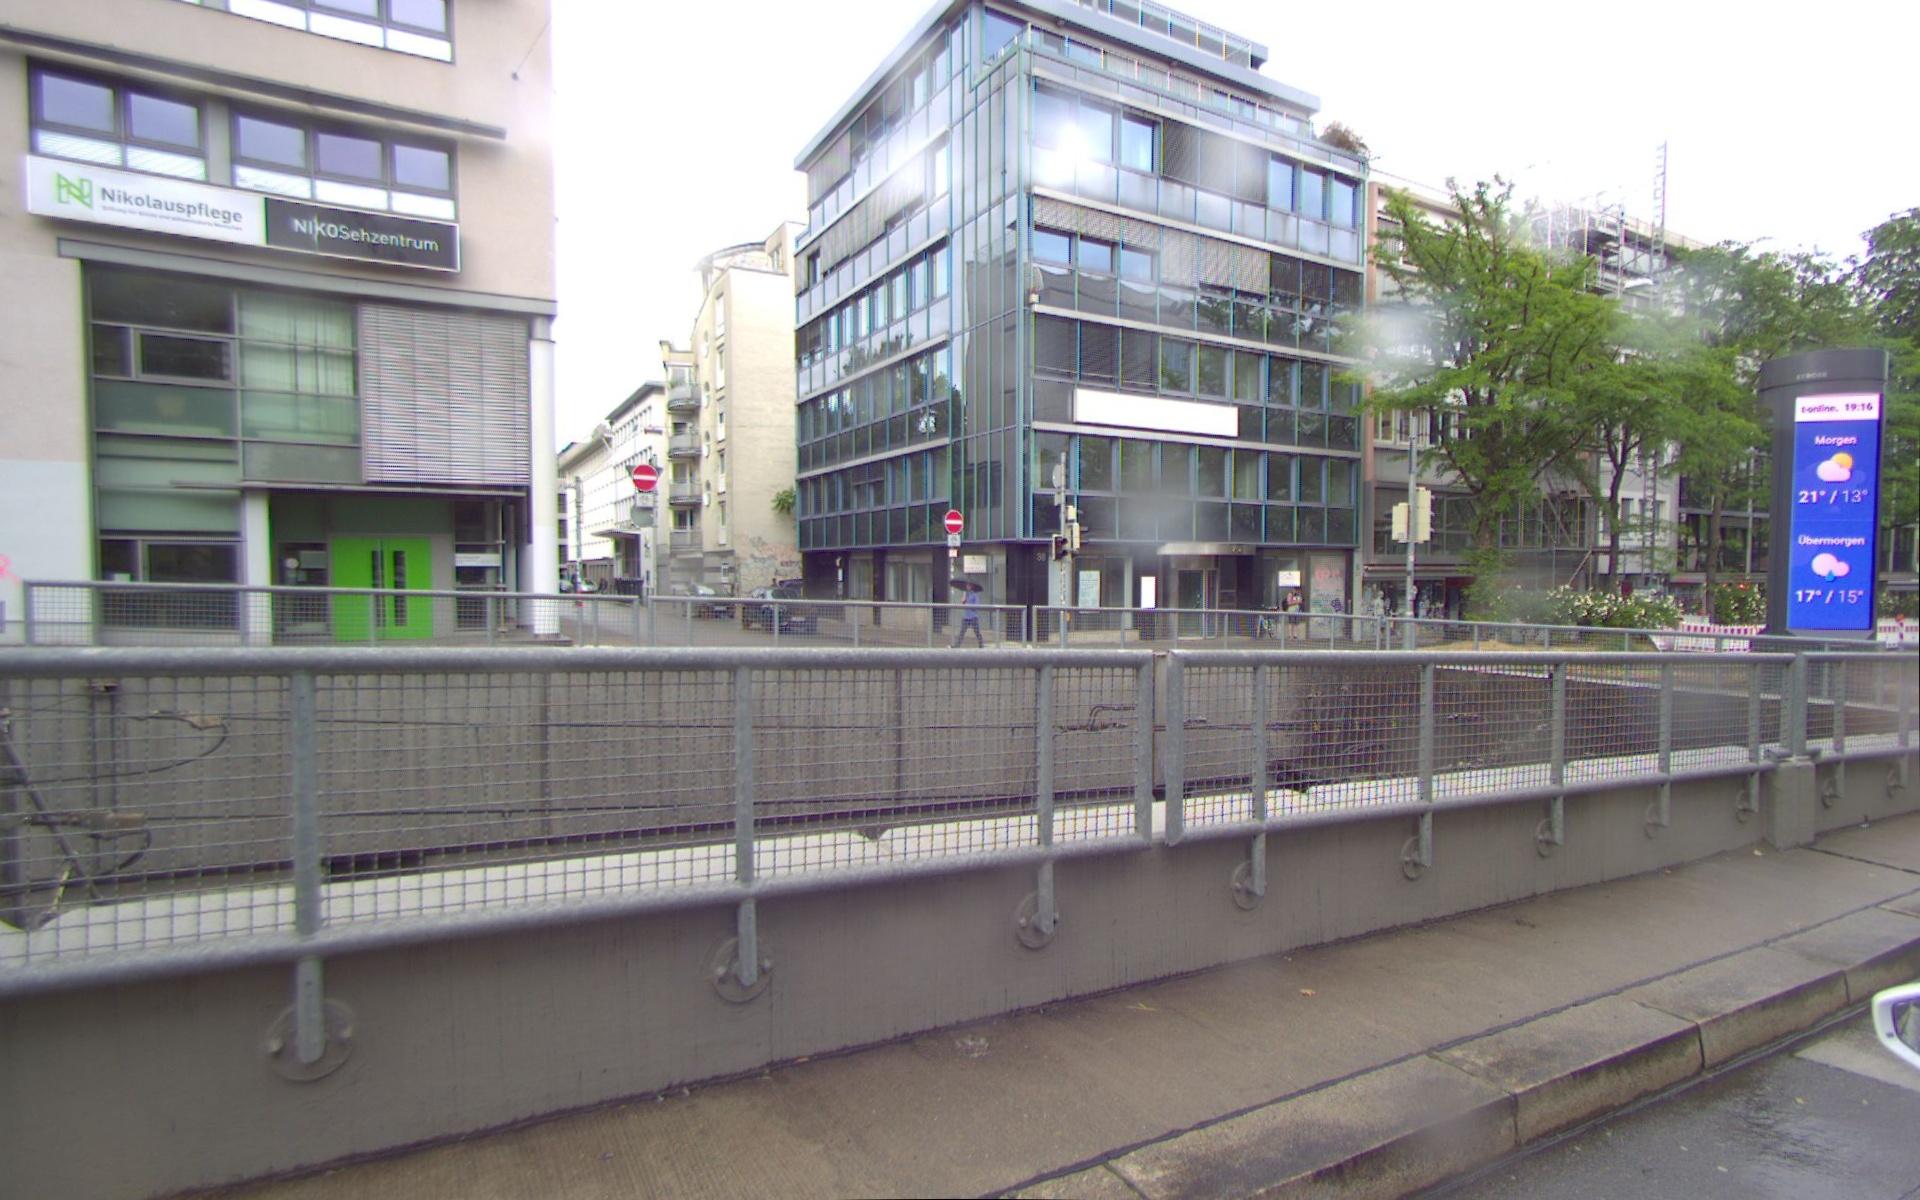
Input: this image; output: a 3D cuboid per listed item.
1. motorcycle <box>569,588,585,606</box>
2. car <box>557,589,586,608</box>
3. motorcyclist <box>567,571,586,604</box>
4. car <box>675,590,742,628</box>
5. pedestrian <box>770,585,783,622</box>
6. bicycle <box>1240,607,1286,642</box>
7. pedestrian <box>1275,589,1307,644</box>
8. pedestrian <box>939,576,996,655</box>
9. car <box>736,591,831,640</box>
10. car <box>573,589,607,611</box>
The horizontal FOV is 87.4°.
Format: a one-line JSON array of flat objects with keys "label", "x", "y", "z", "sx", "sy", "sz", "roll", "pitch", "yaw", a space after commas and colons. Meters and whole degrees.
[{"label": "motorcycle", "x": -21.895, "y": -0.162, "z": 57.387, "sx": 0.696, "sy": 0.984, "sz": 0.977, "roll": 1, "pitch": 2, "yaw": -29}, {"label": "car", "x": -33.765, "y": -0.126, "z": 87.206, "sx": 1.777, "sy": 1.578, "sz": 3.967, "roll": 1, "pitch": 0, "yaw": -30}, {"label": "motorcyclist", "x": -21.893, "y": -0.718, "z": 57.371, "sx": 0.850, "sy": 1.832, "sz": 1.007, "roll": 1, "pitch": 2, "yaw": -29}, {"label": "car", "x": -11.100, "y": 0.361, "z": 44.113, "sx": 1.777, "sy": 1.578, "sz": 3.966, "roll": 1, "pitch": 0, "yaw": -31}, {"label": "pedestrian", "x": -8.376, "y": 0.170, "z": 45.774, "sx": 0.443, "sy": 1.664, "sz": 0.326, "roll": 1, "pitch": 2, "yaw": -35}, {"label": "bicycle", "x": 9.875, "y": 0.788, "z": 32.727, "sx": 1.544, "sy": 1.100, "sz": 0.444, "roll": 1, "pitch": 1, "yaw": -27}, {"label": "pedestrian", "x": 10.955, "y": 0.547, "z": 33.235, "sx": 0.688, "sy": 1.765, "sz": 0.691, "roll": 1, "pitch": 2, "yaw": -35}, {"label": "pedestrian", "x": 0.182, "y": 0.370, "z": 24.303, "sx": 1.047, "sy": 1.863, "sz": 0.853, "roll": 1, "pitch": 2, "yaw": -30}, {"label": "car", "x": -6.235, "y": 0.501, "z": 35.175, "sx": 1.977, "sy": 1.578, "sz": 3.966, "roll": 1, "pitch": 0, "yaw": -31}, {"label": "car", "x": -27.977, "y": -0.003, "z": 75.927, "sx": 1.777, "sy": 1.578, "sz": 3.967, "roll": 1, "pitch": 0, "yaw": -30}]
